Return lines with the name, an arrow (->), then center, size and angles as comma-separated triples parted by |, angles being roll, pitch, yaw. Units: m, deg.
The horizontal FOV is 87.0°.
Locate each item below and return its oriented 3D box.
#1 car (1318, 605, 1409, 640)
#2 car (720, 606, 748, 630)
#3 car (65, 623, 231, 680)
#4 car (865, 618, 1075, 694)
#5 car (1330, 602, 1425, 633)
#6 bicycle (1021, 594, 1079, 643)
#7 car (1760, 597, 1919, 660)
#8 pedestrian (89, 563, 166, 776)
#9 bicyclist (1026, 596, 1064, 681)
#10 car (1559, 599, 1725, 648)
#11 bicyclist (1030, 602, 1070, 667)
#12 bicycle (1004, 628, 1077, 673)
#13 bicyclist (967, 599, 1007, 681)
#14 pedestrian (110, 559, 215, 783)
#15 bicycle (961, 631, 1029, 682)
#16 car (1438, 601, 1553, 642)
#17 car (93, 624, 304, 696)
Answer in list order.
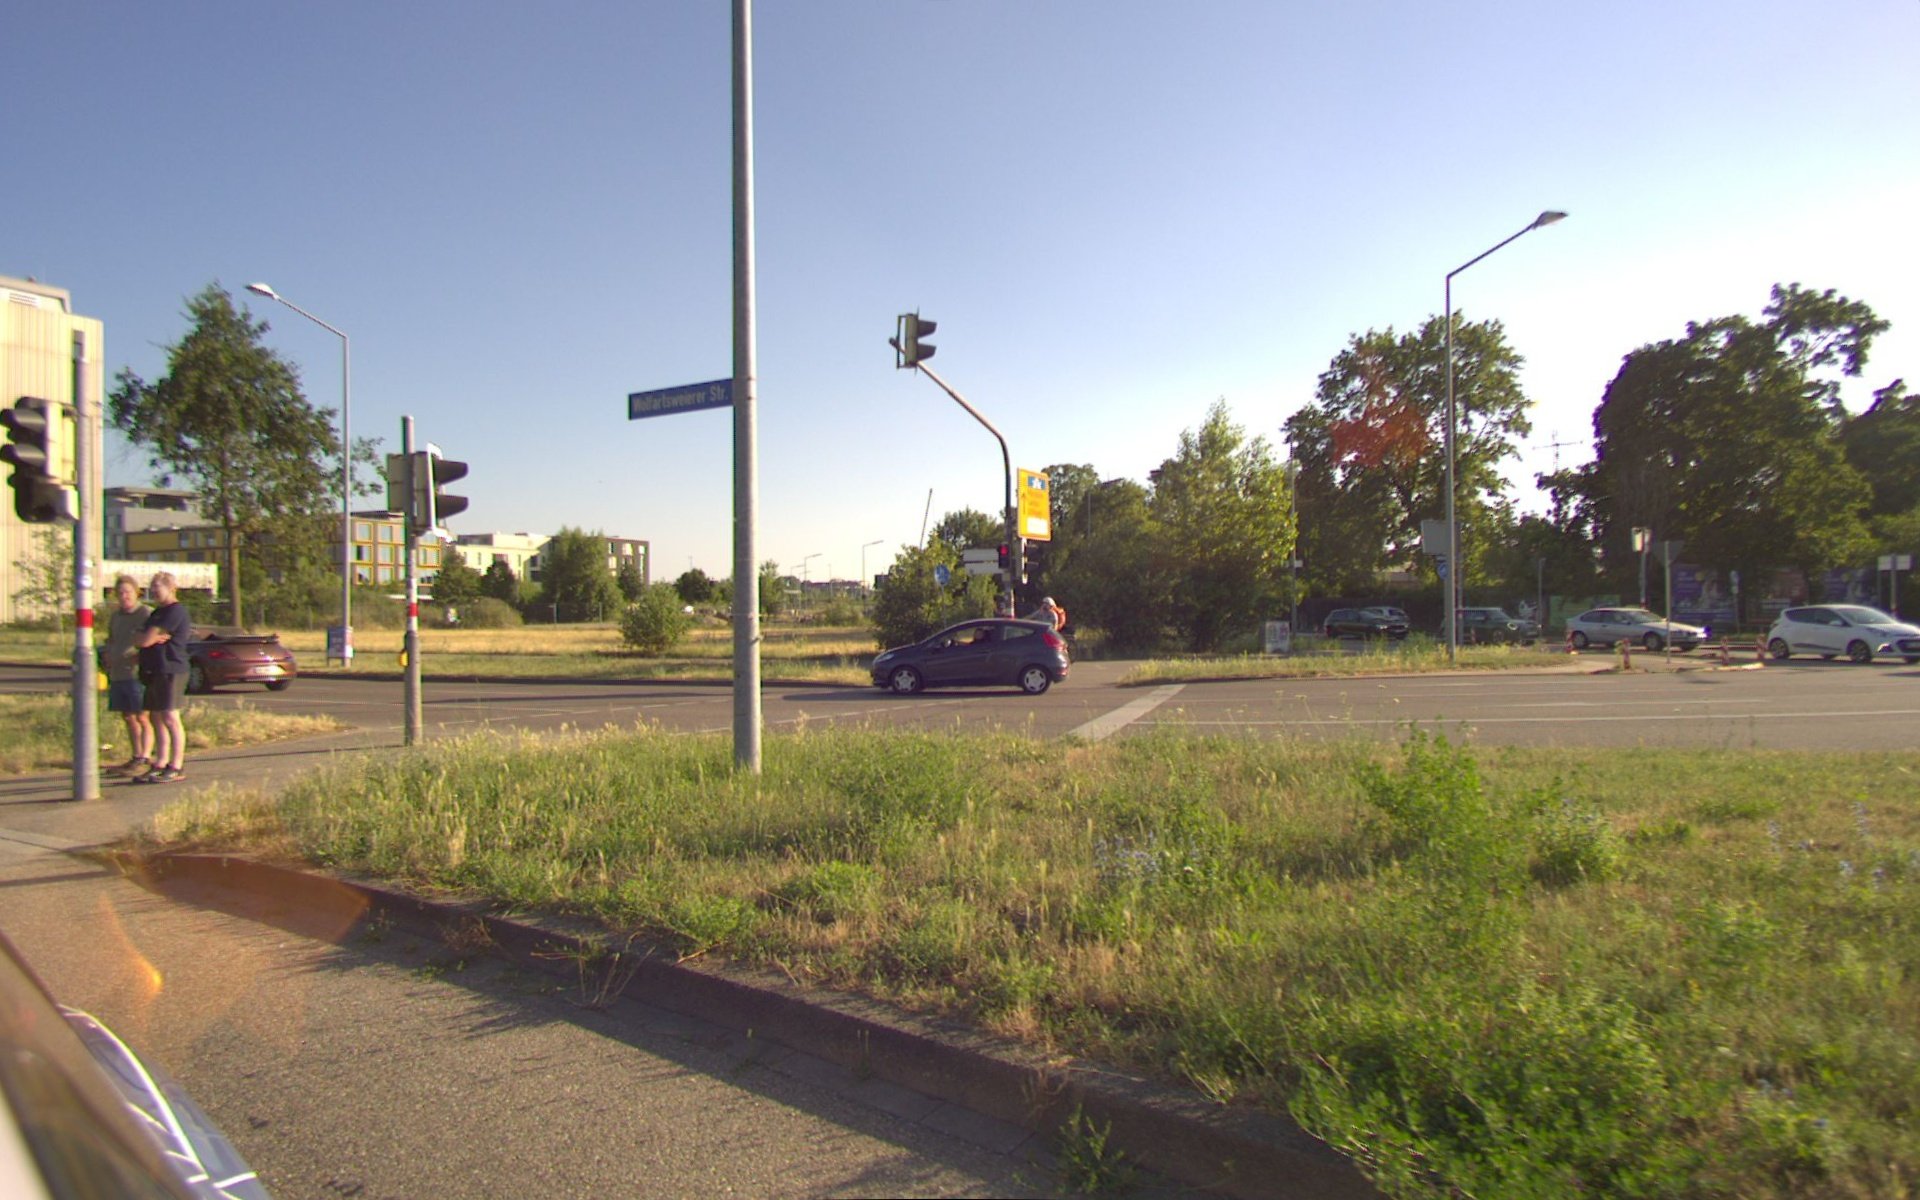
car -> 18.238, 0.994, 45.924 | 1.843, 1.519, 3.720 | 0, -1, -18
car -> -20.473, 1.616, 91.634 | 1.970, 2.029, 3.885 | 0, -1, -5
car -> -21.548, 1.352, 26.894 | 3.582, 1.453, 1.664 | -1, -2, 15
car -> 0.249, 1.065, 19.627 | 3.903, 1.386, 1.669 | -1, -2, 7
car -> 22.025, 0.925, 53.520 | 1.844, 1.519, 4.319 | 0, -1, -35
bicycle -> 2.032, 0.399, 22.535 | 0.502, 1.027, 1.894 | -1, 1, 31
car -> 23.610, 0.717, 26.585 | 1.821, 1.519, 3.979 | -1, -1, -4
pedestrian -> -7.634, 0.613, 9.273 | 0.720, 1.858, 0.480 | -2, -1, 45
bicyclist -> 1.884, 0.830, 22.273 | 0.495, 1.802, 0.807 | -1, 1, 32
car -> 22.555, 0.771, 33.696 | 1.843, 1.519, 4.321 | 0, -1, -18
bicyclist -> 2.390, 0.908, 26.889 | 0.817, 1.679, 0.712 | 0, -1, -19
bicycle -> 2.133, 1.321, 26.795 | 1.792, 1.127, 0.728 | 0, -1, -18
bicyclist -> 0.618, 0.885, 22.858 | 0.496, 1.784, 0.805 | -1, 1, 39
pedestrian -> -6.908, 0.596, 8.769 | 0.669, 1.858, 0.483 | -1, -1, 27
bicycle -> 0.811, 1.264, 23.098 | 0.504, 1.027, 1.889 | 0, 1, 39
car -> 20.858, 0.821, 39.594 | 1.843, 1.519, 3.720 | 0, -1, -18
car -> -15.840, 1.219, 21.048 | 4.122, 1.386, 1.660 | -1, -2, 23
